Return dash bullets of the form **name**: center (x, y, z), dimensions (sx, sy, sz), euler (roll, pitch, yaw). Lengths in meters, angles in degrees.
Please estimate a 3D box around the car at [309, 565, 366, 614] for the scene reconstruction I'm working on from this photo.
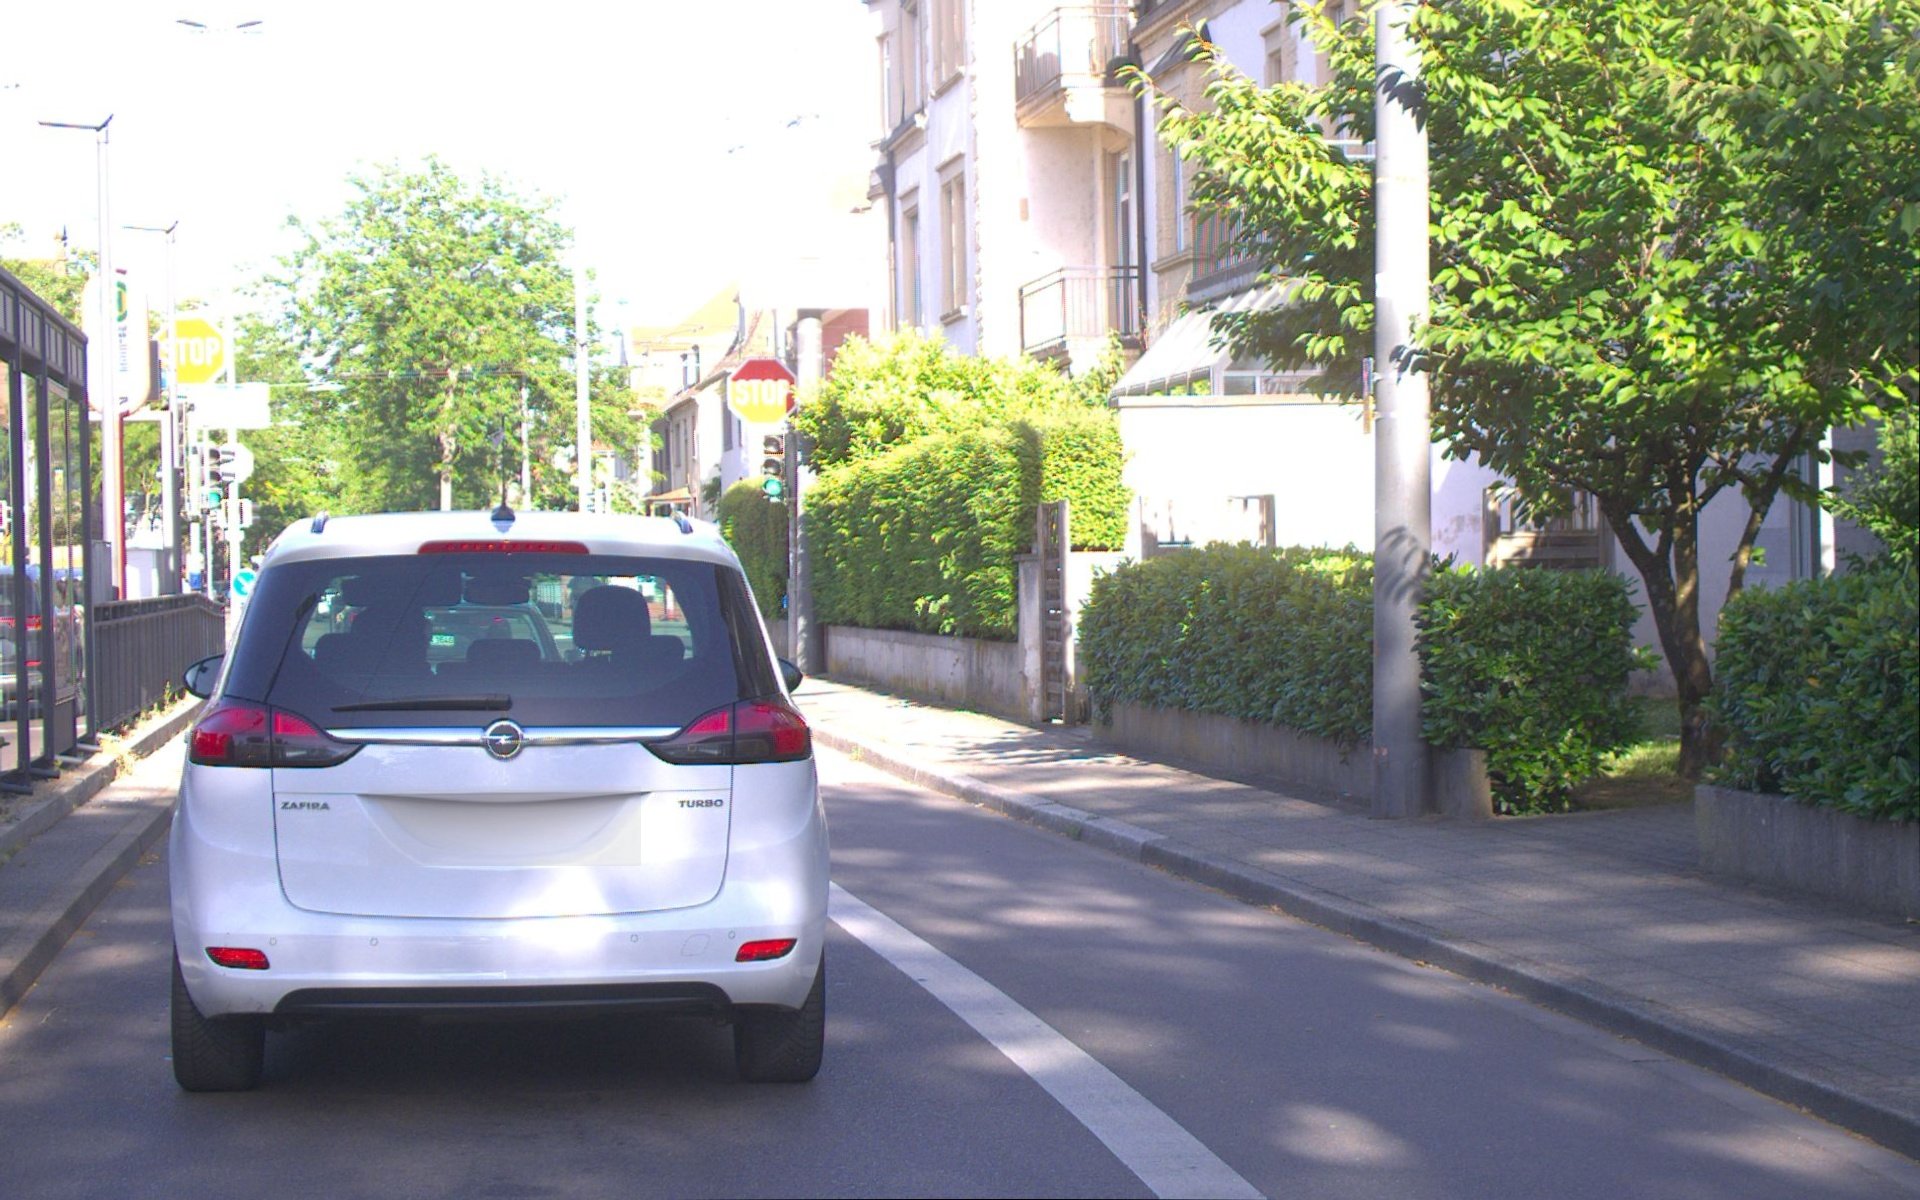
- **car**: center (-22.053, -0.365, 121.948), dimensions (1.775, 1.687, 3.881), euler (-1, 0, -7)

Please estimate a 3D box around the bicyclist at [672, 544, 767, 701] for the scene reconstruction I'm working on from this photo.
- **bicyclist**: center (-2.341, 0.216, 33.389), dimensions (0.821, 1.496, 0.934), euler (-1, 0, -10)

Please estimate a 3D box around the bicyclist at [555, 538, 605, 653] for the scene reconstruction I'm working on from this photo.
- **bicyclist**: center (-5.448, -0.066, 49.273), dimensions (0.685, 1.629, 1.016), euler (-1, 0, -7)

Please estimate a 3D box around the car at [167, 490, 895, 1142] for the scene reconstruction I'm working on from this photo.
- **car**: center (-1.377, 0.533, 10.736), dimensions (1.834, 1.636, 3.919), euler (-1, 0, -9)

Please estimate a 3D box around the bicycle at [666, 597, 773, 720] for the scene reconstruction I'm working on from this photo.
- **bicycle**: center (-2.363, 0.549, 33.596), dimensions (0.829, 1.150, 2.095), euler (-1, 0, -10)

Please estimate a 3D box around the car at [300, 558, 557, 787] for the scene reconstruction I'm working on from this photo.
- **car**: center (-3.650, 0.437, 23.950), dimensions (1.586, 1.415, 3.901), euler (-2, 1, -7)

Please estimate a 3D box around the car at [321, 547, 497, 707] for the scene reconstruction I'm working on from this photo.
- **car**: center (-5.984, 0.270, 37.333), dimensions (1.775, 1.626, 3.881), euler (-1, 0, -9)
